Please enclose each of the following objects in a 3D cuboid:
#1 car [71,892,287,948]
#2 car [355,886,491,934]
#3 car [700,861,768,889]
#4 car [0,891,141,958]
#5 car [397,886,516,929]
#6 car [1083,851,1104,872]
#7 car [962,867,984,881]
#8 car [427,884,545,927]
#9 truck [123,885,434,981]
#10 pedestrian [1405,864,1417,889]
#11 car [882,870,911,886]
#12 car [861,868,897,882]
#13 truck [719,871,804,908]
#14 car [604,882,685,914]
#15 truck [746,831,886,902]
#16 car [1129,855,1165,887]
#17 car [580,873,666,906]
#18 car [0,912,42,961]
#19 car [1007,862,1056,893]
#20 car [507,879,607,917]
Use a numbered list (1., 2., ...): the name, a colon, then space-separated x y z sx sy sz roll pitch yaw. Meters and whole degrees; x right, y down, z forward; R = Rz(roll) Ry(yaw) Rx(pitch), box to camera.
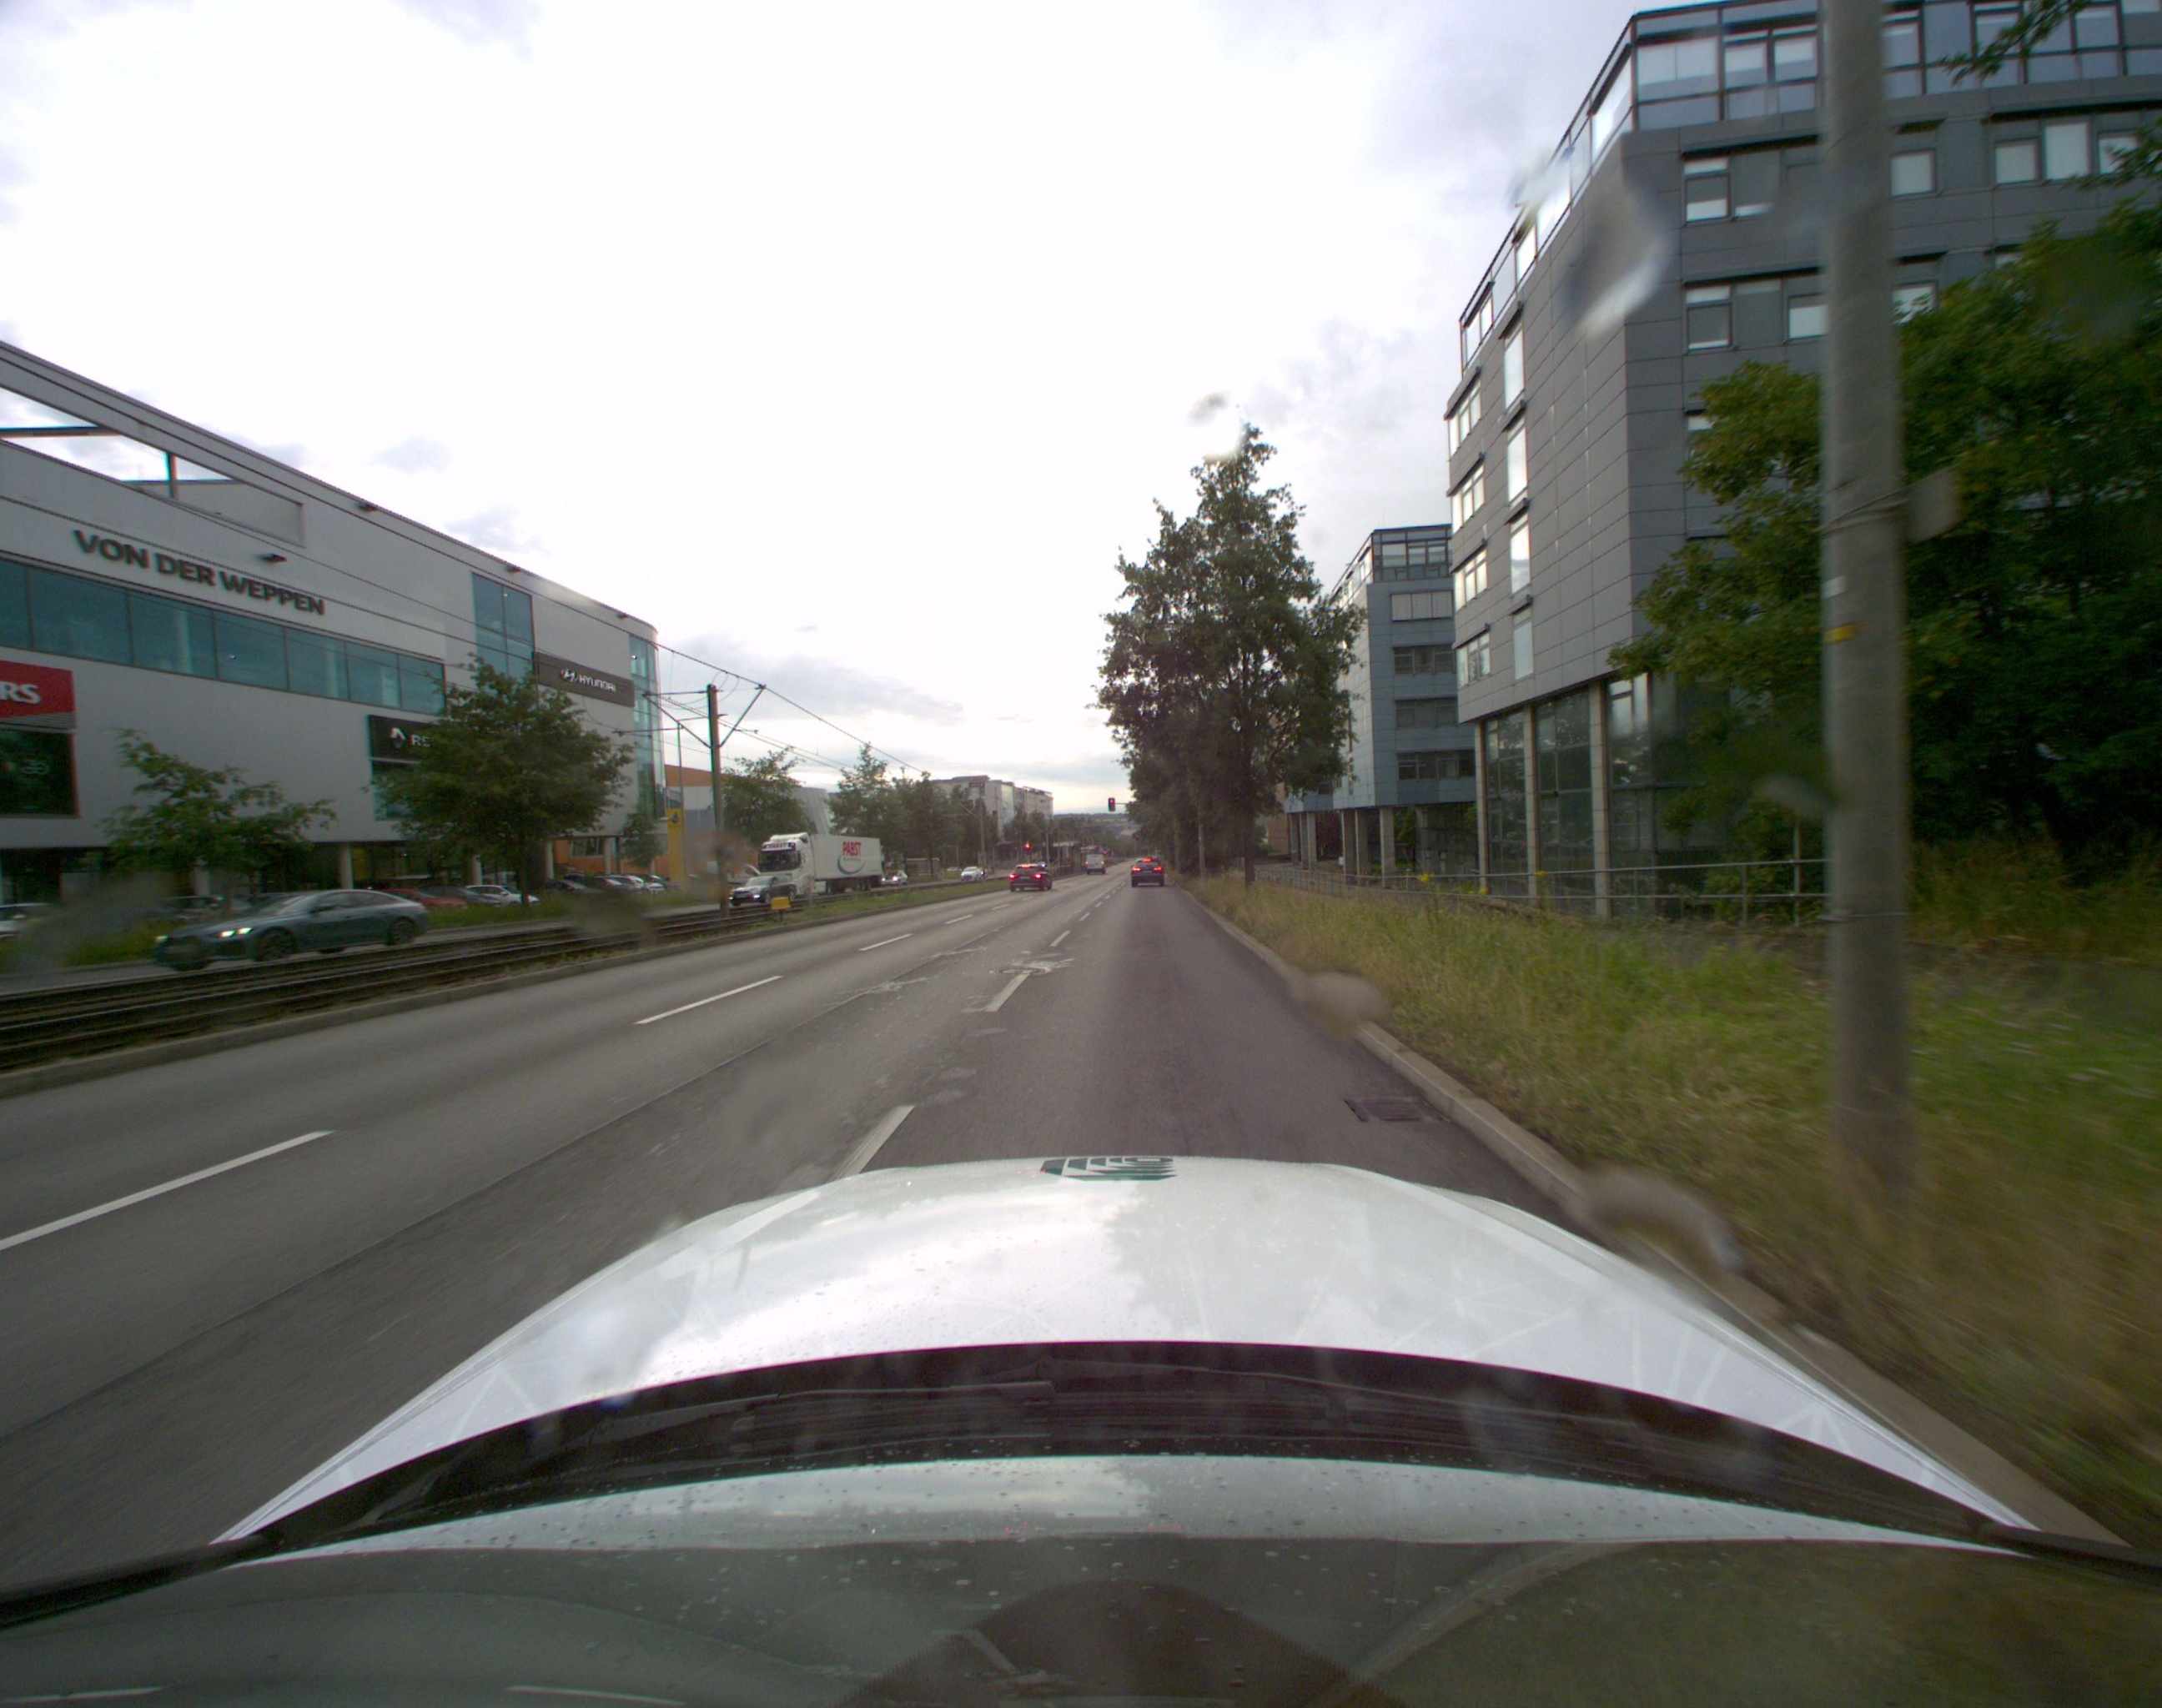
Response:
1. car: -33.485 2.394 30.426 5.014 1.654 2.008 -2 -1 -17
2. car: -31.594 2.654 39.265 4.603 1.976 2.012 -2 -1 -11
3. car: -31.171 1.864 73.253 5.309 2.313 2.011 -1 -1 -14
4. car: -32.729 2.205 25.002 4.633 1.827 2.008 -2 -1 -17
5. car: -31.870 2.698 41.677 4.346 1.864 1.876 -2 -1 -12
6. car: 1.433 0.858 95.629 2.261 2.284 4.758 -1 1 -1
7. car: -11.885 2.144 89.499 1.656 1.442 3.899 -1 -1 3
8. car: -32.005 2.721 43.941 4.602 1.976 2.013 -2 -1 -10
9. truck: -16.775 1.553 17.460 1.934 1.568 4.595 -4 -1 2
10. pedestrian: 18.774 1.274 46.355 0.501 1.408 0.458 -1 -1 4
11. car: -18.495 2.376 81.581 1.654 1.544 3.902 -1 -1 5
12. car: -27.375 2.867 110.578 4.307 1.809 2.099 -1 1 1
13. truck: -15.980 1.750 41.044 1.931 1.568 4.553 -4 -1 7
14. car: -31.310 3.129 58.516 4.590 1.976 2.018 -3 -1 -3
15. truck: -17.821 0.675 56.993 3.029 4.180 17.219 -1 0 4
16. car: 3.829 0.944 47.648 1.915 1.710 4.101 -1 1 3
17. car: -31.250 2.399 55.692 4.590 1.976 2.018 -3 -1 -3
18. car: -32.578 2.449 22.570 4.332 1.307 1.861 -2 -1 -17
19. car: -2.595 1.220 43.815 1.777 1.413 4.814 -1 1 6
20. car: -31.472 2.623 49.053 4.590 1.976 2.018 -3 -1 -3
